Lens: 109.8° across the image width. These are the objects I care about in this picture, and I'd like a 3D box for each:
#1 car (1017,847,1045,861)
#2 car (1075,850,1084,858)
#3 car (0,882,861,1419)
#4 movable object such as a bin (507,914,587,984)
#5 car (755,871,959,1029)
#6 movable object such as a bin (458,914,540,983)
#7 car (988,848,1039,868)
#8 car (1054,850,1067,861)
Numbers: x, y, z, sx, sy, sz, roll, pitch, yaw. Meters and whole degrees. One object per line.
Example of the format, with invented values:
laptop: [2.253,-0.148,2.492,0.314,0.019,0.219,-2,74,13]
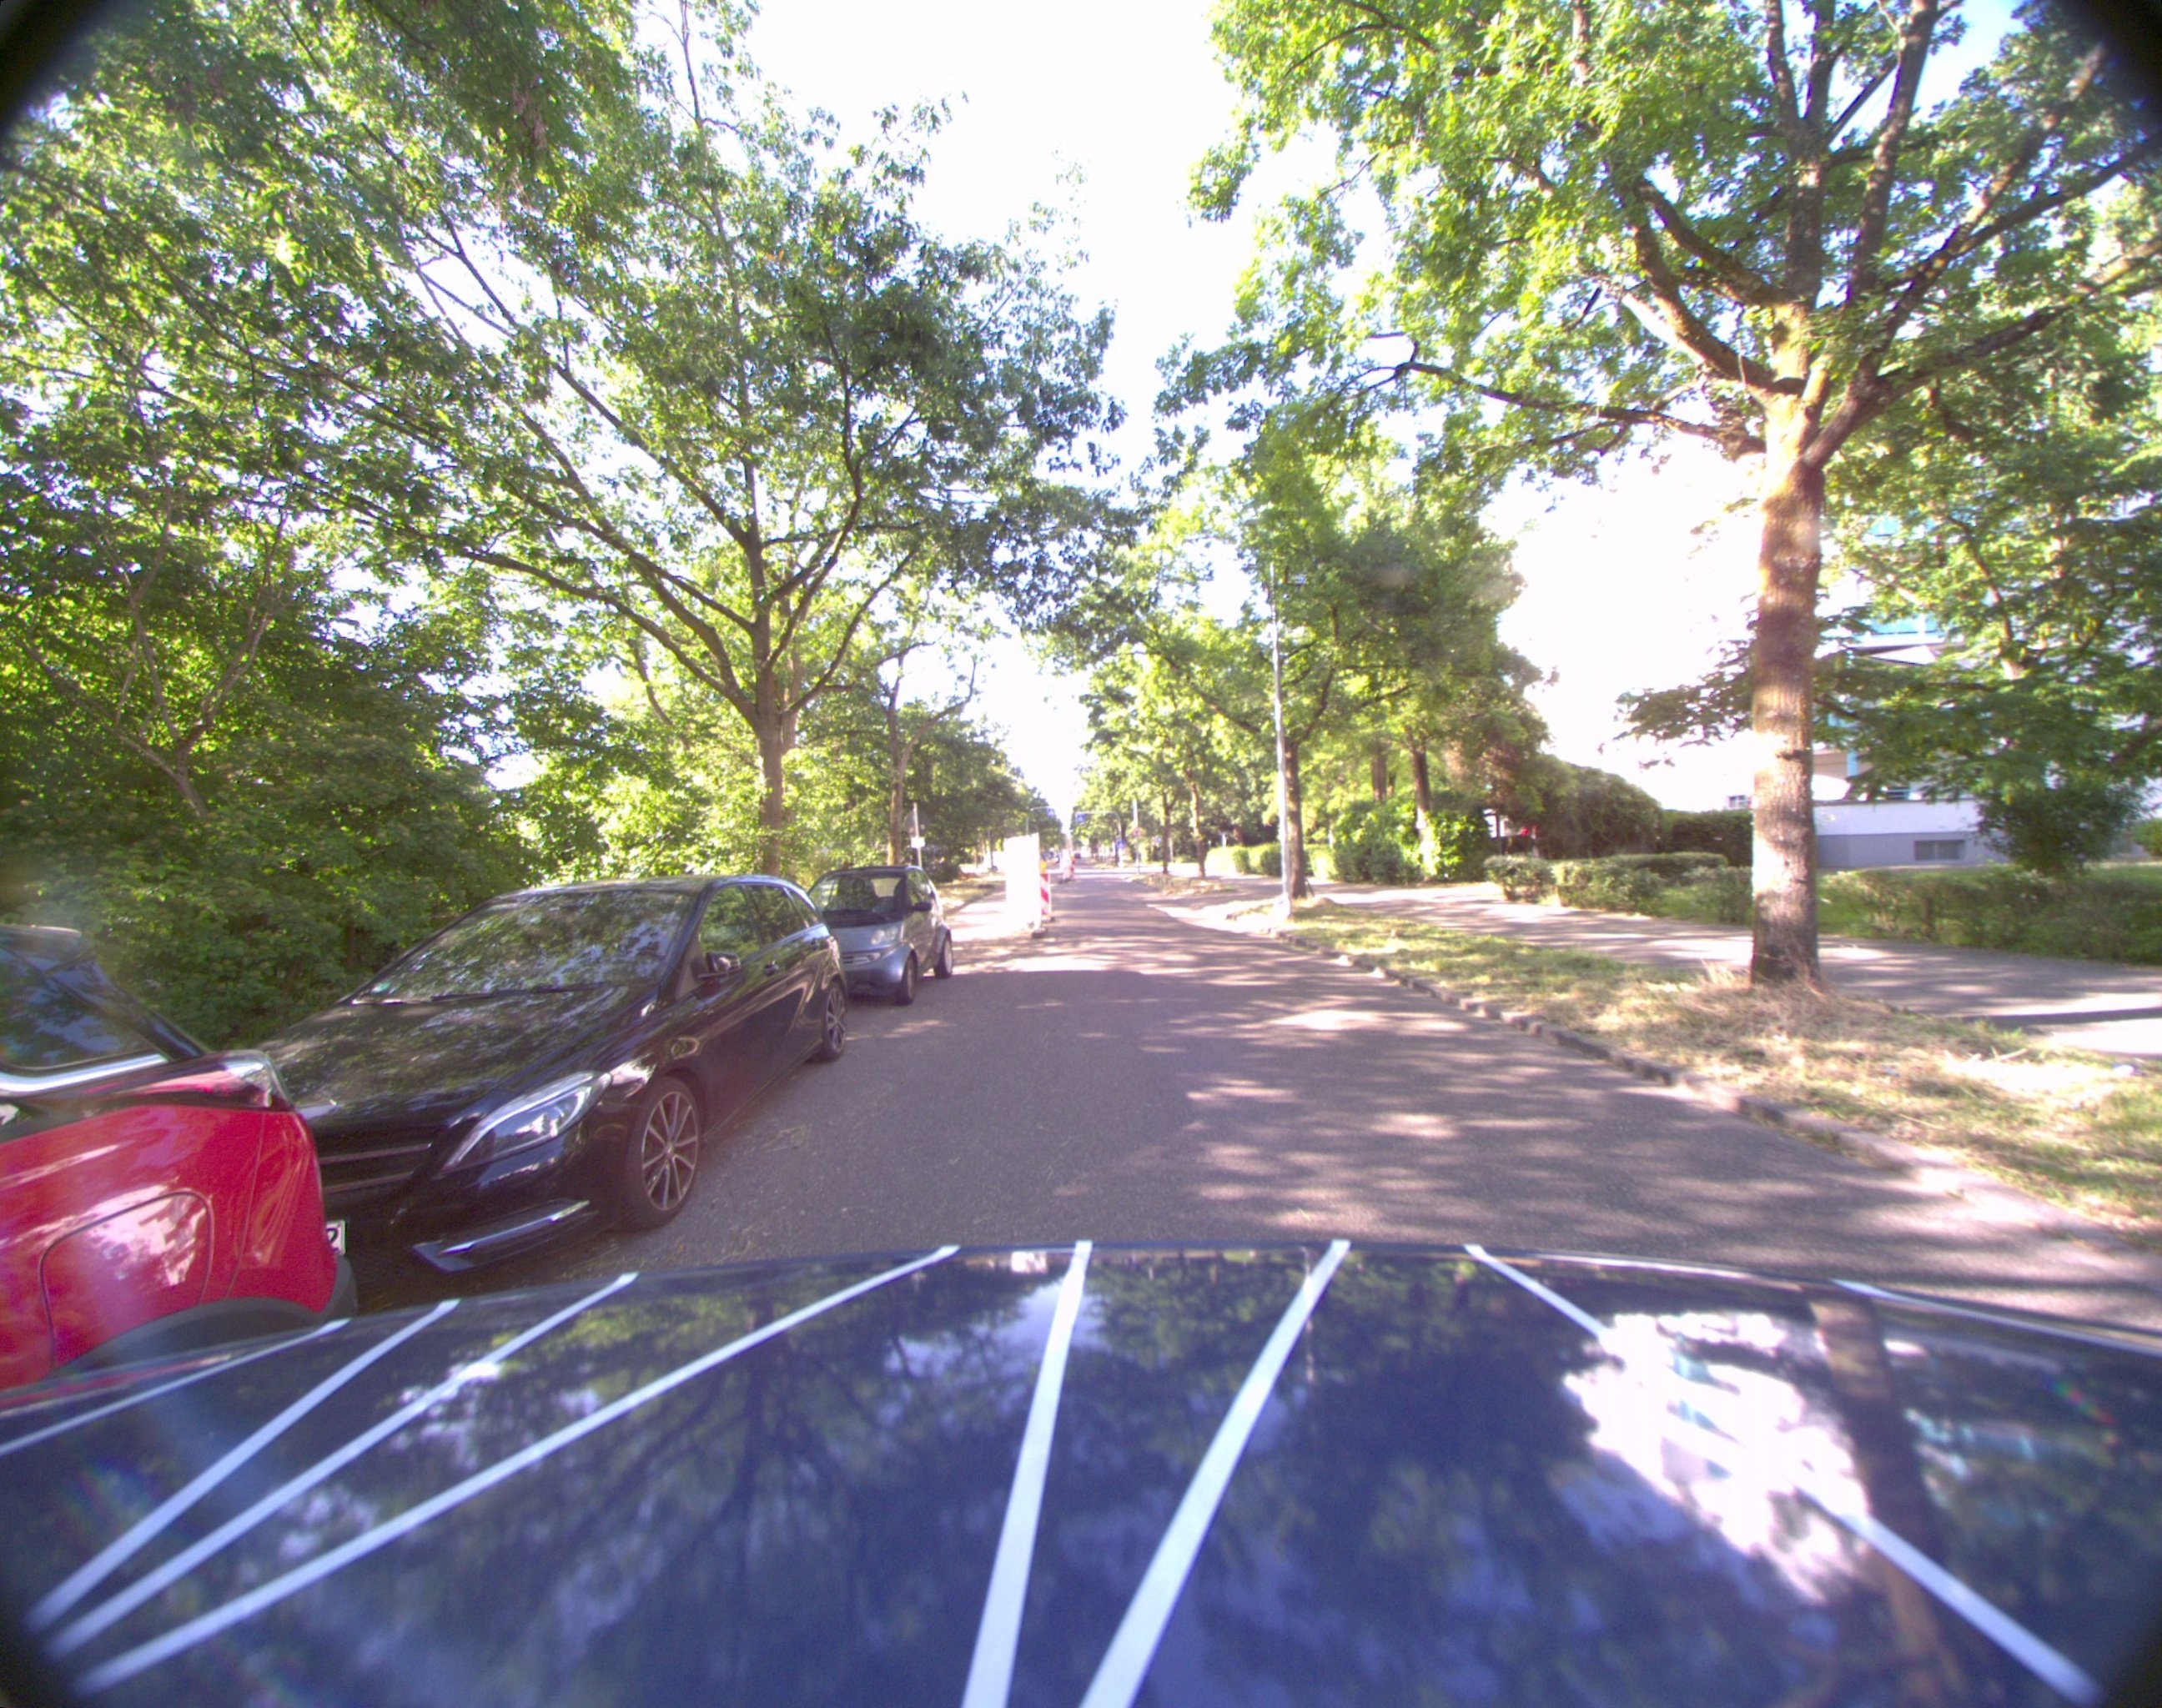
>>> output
car: [-7.577,0.026,115.013,4.245,1.993,1.565,-1,0,-4]
car: [-0.438,-0.073,190.861,1.998,1.805,4.000,-2,0,2]
car: [-2.735,1.042,4.572,1.716,1.500,4.148,-3,0,-3]
movable object such as a bin: [-7.477,1.324,10.653,0.727,0.877,0.462,0,7,6]
car: [-2.526,1.021,9.165,1.497,1.500,2.677,-3,0,2]
movable object such as a bin: [-8.211,1.326,10.733,0.727,0.877,0.462,0,7,6]
car: [-7.282,0.427,82.333,5.269,1.993,2.000,-1,0,-2]
car: [-3.566,0.233,132.384,1.998,1.871,3.999,0,1,1]
